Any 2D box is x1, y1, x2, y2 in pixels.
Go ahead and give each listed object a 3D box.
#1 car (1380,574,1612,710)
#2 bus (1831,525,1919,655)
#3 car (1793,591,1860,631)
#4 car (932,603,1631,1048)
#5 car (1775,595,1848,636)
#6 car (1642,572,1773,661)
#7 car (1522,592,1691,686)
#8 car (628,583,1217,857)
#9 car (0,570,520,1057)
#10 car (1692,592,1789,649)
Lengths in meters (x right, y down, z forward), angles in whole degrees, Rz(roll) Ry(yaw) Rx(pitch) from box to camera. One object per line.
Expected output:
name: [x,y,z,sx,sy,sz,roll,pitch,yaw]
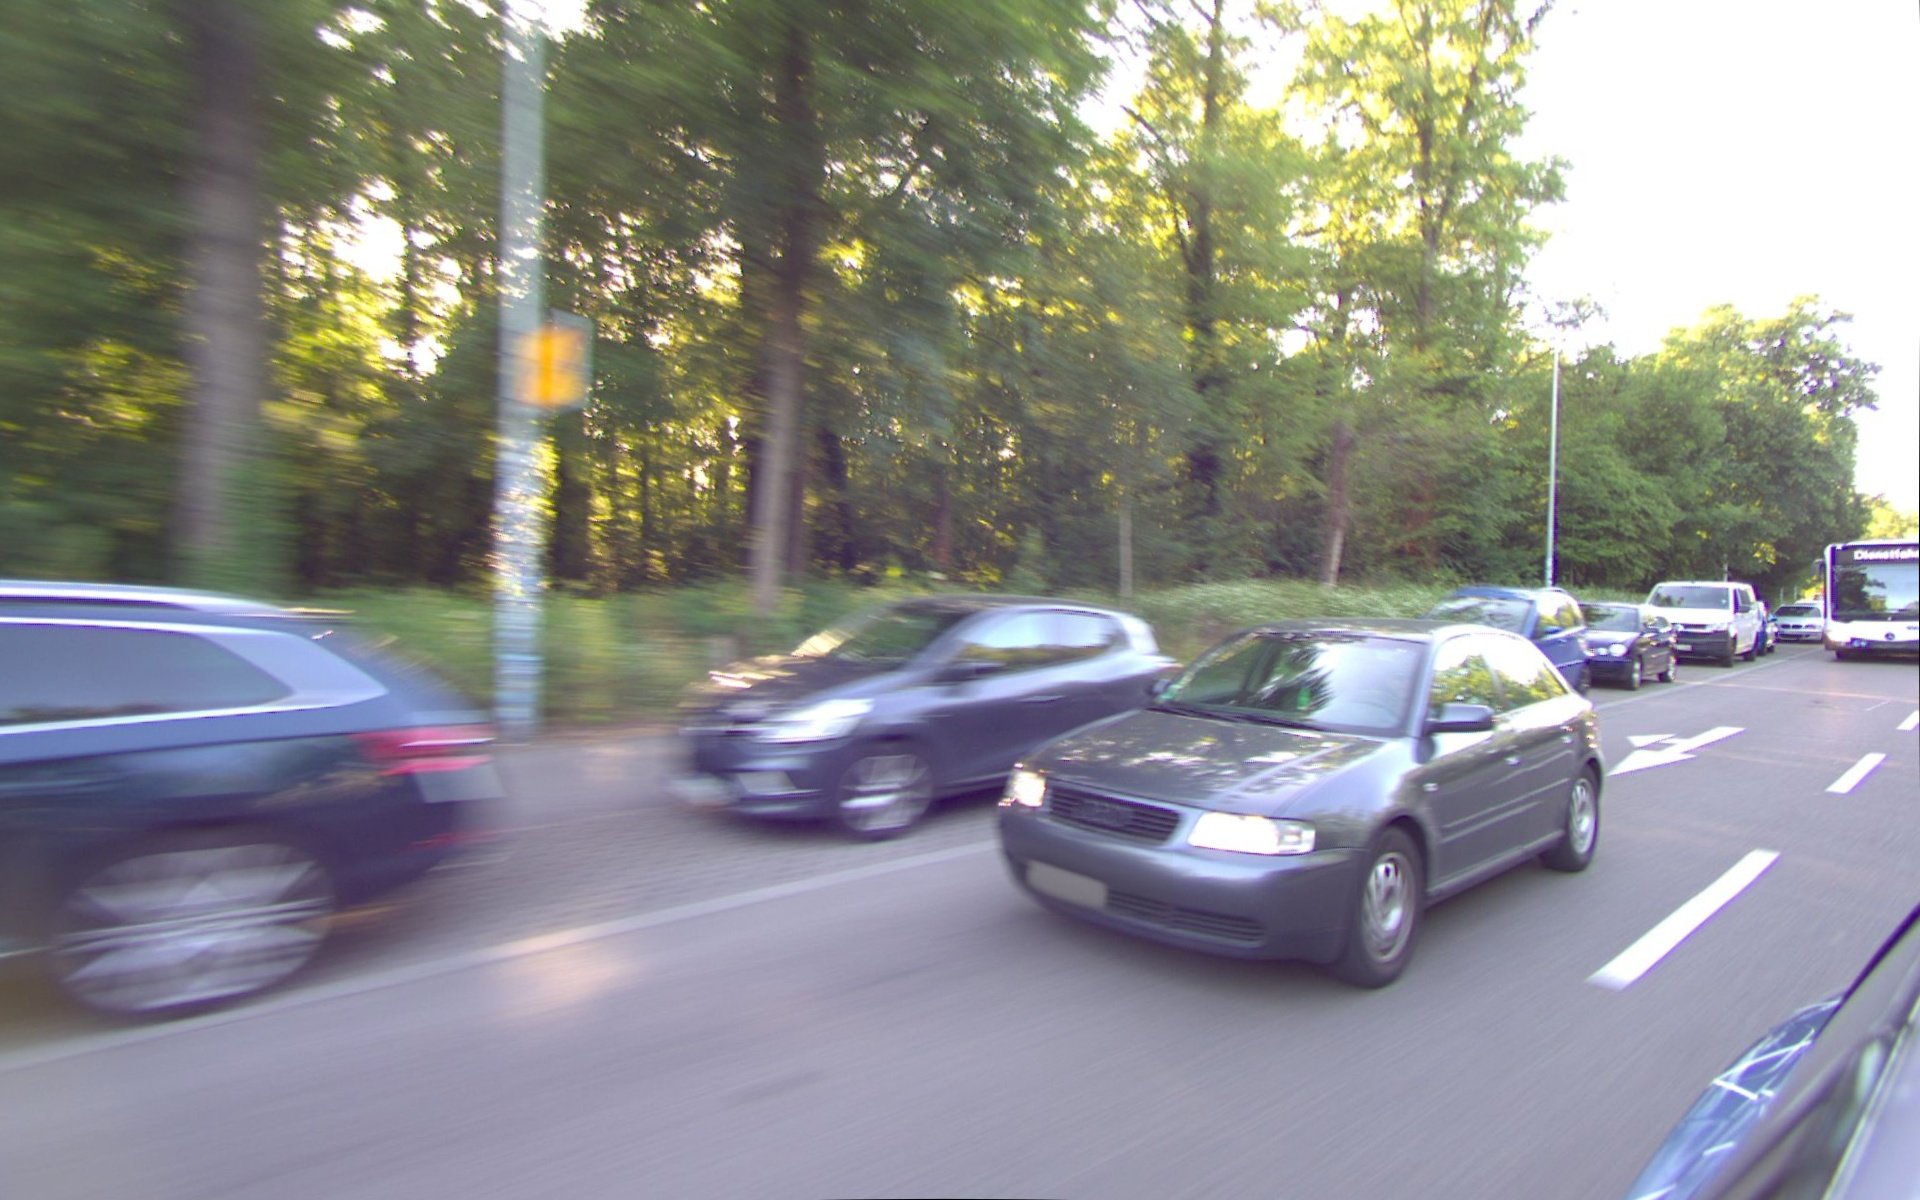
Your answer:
car: [7.803,0.491,14.595,3.765,1.654,1.817,-1,3,-43]
bus: [27.198,-0.231,28.750,2.806,3.086,12.676,0,0,45]
car: [34.510,0.396,40.279,3.765,1.506,1.592,-1,0,-43]
car: [1.885,0.725,5.178,3.926,1.376,1.677,0,0,-42]
car: [31.087,0.521,36.903,3.765,1.400,1.592,-1,0,-43]
car: [18.411,0.335,24.821,5.182,1.945,1.815,-1,0,-45]
car: [11.692,0.611,18.217,1.815,1.497,3.768,0,1,45]
car: [-0.075,0.618,7.402,4.156,1.421,1.676,-1,3,-40]
car: [-4.286,0.658,3.205,5.026,1.487,1.766,-1,3,-40]
car: [22.568,0.543,29.215,1.814,1.529,3.769,0,1,44]
